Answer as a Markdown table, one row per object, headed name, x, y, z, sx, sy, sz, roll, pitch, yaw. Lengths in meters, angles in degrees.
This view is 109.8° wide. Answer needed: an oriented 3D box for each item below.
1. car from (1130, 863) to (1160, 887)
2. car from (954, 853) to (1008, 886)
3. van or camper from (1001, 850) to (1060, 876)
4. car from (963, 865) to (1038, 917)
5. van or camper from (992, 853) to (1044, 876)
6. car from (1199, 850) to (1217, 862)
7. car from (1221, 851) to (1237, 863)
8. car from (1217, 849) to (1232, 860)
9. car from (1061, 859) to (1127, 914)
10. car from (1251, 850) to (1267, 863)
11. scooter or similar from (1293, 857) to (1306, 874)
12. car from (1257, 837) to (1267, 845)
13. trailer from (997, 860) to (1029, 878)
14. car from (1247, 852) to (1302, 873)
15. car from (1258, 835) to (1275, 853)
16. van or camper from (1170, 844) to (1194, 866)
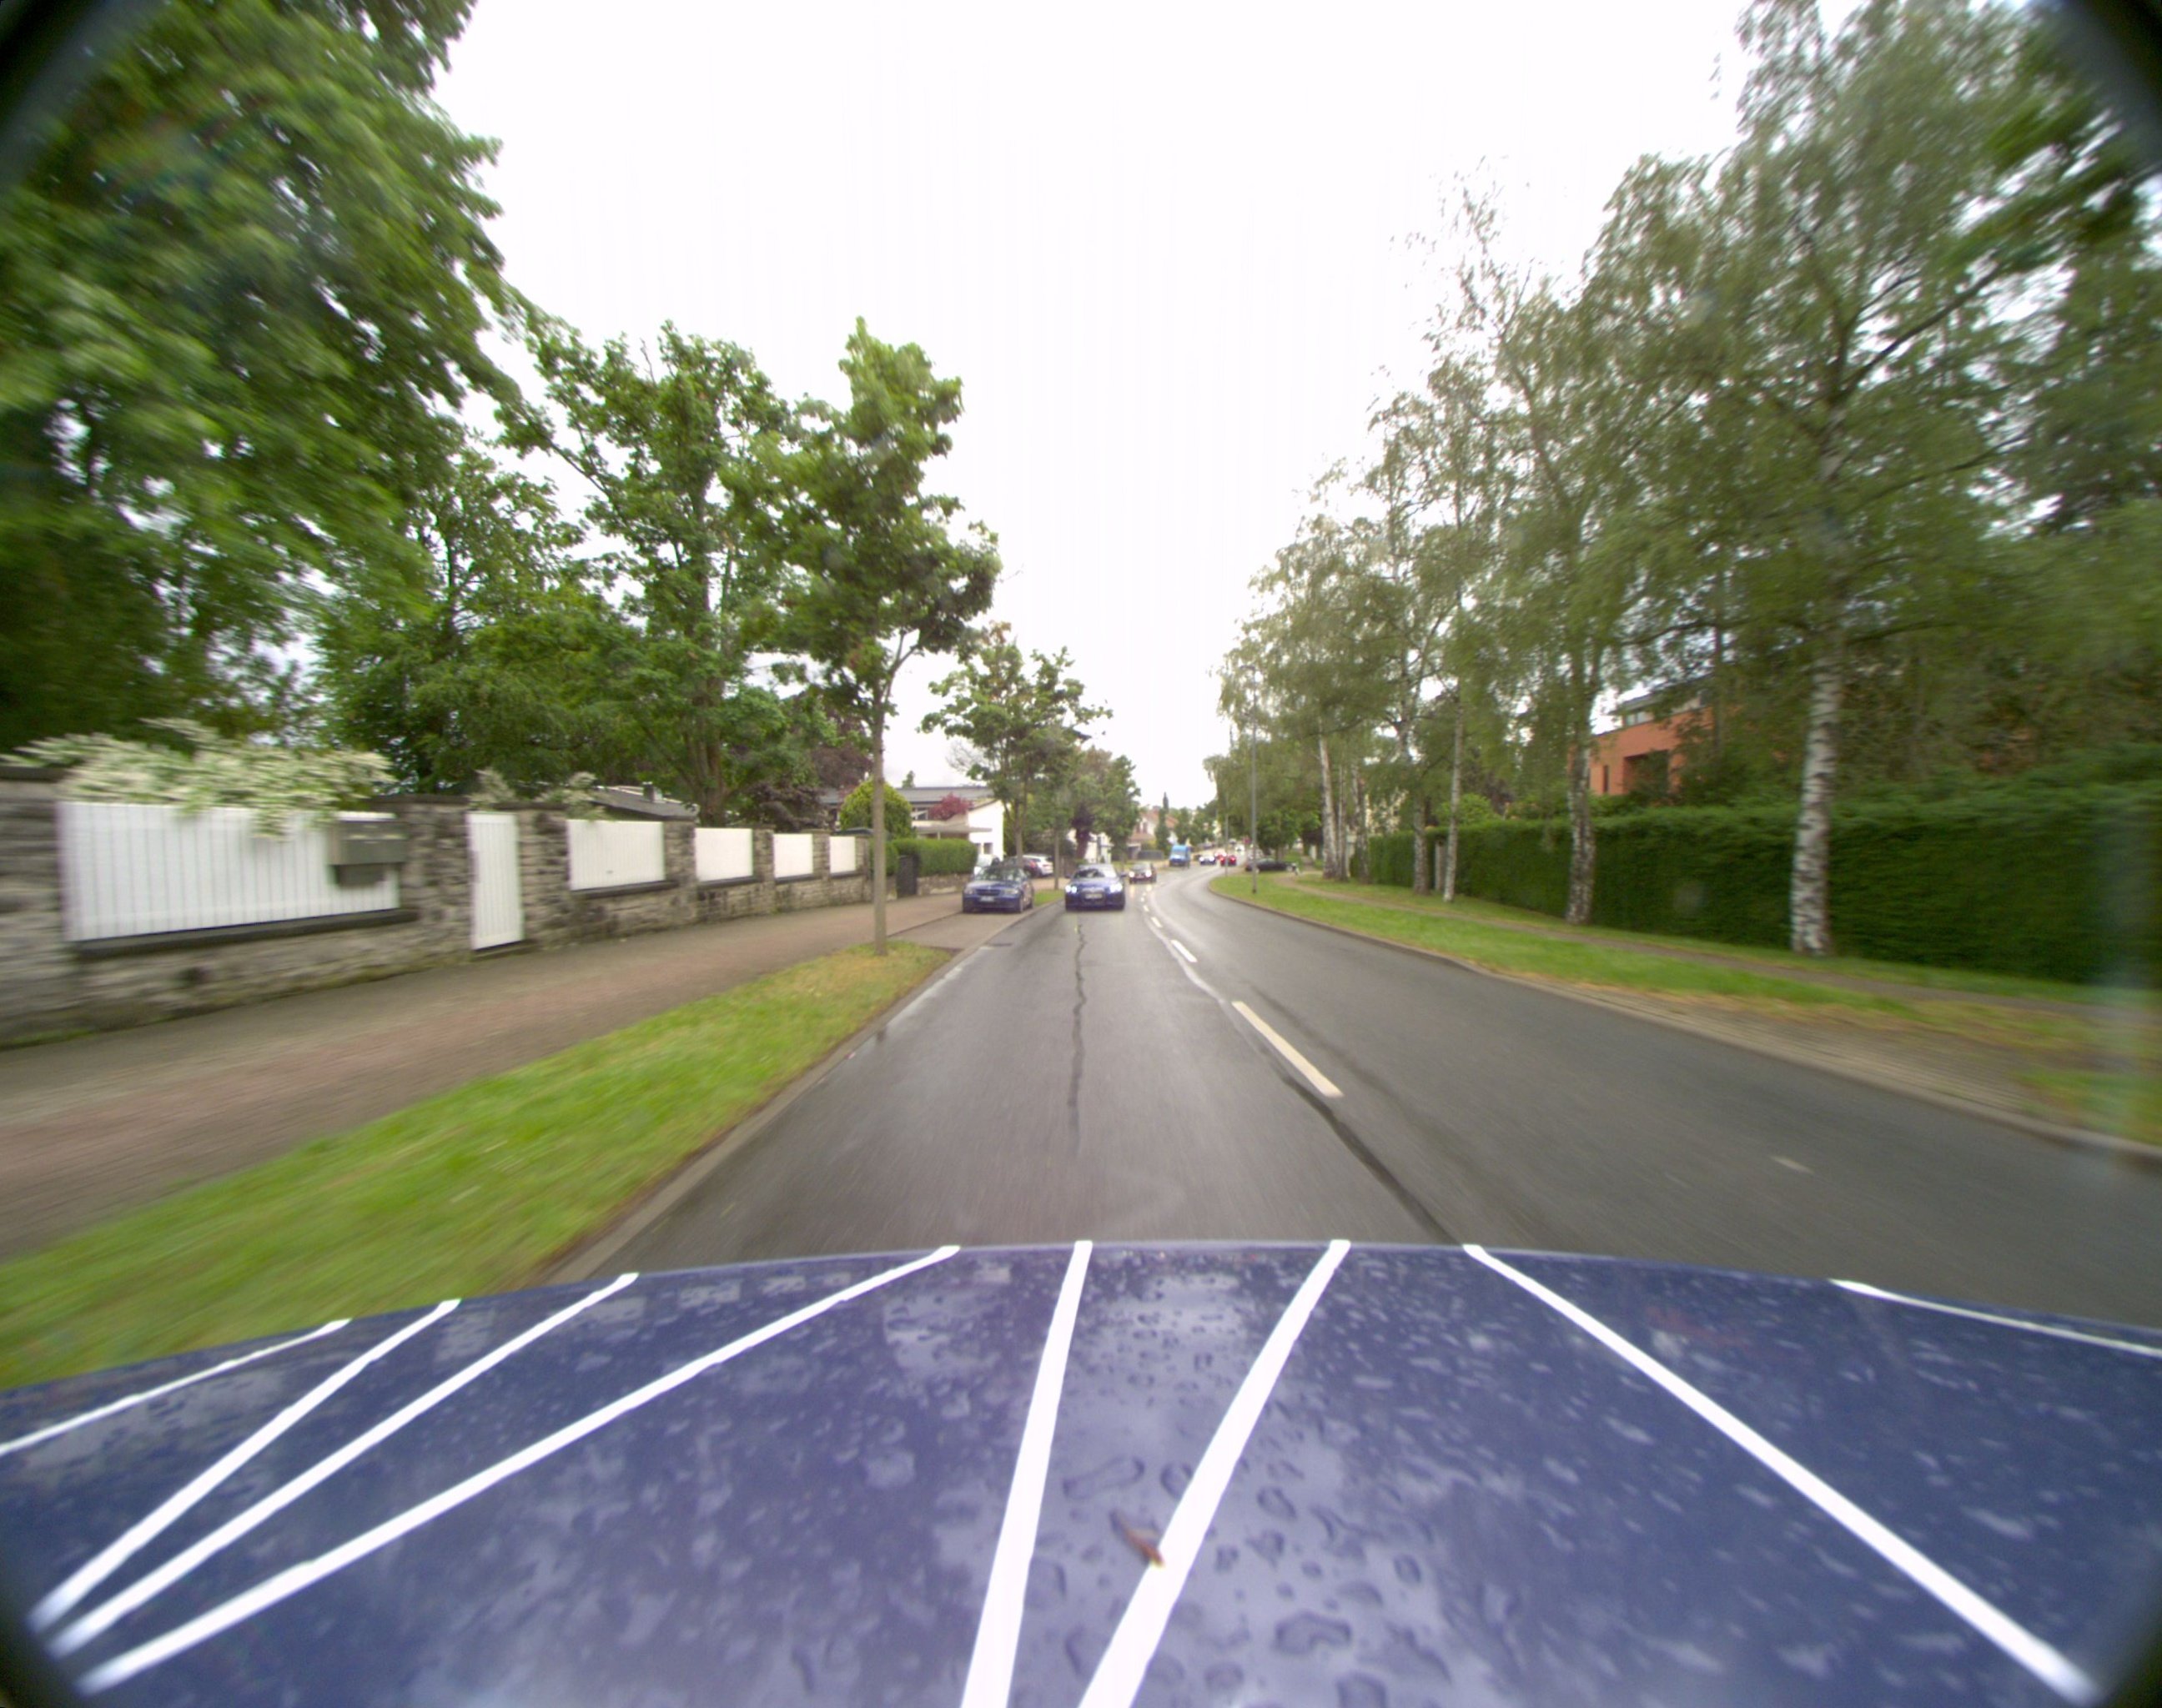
| name | x | y | z | sx | sy | sz | roll | pitch | yaw |
| --- | --- | --- | --- | --- | --- | --- | --- | --- | --- |
| car | 4.700 | 1.464 | 55.214 | 1.845 | 1.531 | 4.002 | -3 | 0 | 8 |
| car | -5.659 | 0.854 | 43.579 | 1.797 | 1.747 | 4.946 | -1 | 0 | 8 |
| van or camper | -3.829 | 0.668 | 58.198 | 3.993 | 1.668 | 2.125 | 3 | 1 | 11 |
| car | -2.363 | 1.054 | 23.224 | 1.645 | 1.369 | 3.830 | 1 | 0 | 4 |
| van or camper | -4.548 | 0.745 | 55.008 | 3.408 | 1.547 | 1.770 | 2 | 1 | 6 |
| car | 16.936 | 0.231 | 101.242 | 1.893 | 1.531 | 4.005 | -2 | 0 | 17 |
| car | 18.675 | 0.361 | 95.694 | 1.758 | 1.432 | 4.160 | -2 | 0 | 9 |
| car | 22.689 | 0.033 | 119.850 | 1.893 | 1.531 | 4.005 | -2 | 0 | 17 |
| car | 0.520 | 0.989 | 24.957 | 1.895 | 1.531 | 4.001 | -3 | 0 | 4 |
| car | 24.840 | 0.304 | 106.115 | 1.773 | 1.597 | 4.004 | -1 | 2 | 18 |
| scooter or similar | 15.678 | 0.797 | 54.523 | 0.424 | 1.151 | 1.493 | -3 | 0 | 35 |
| car | 39.606 | -2.806 | 166.178 | 1.893 | 1.531 | 4.005 | -2 | 0 | 19 |
| trailer | -4.626 | 1.011 | 51.719 | 1.422 | 0.916 | 3.276 | 7 | 2 | 7 |
| car | 16.639 | 0.725 | 65.221 | 4.434 | 1.409 | 1.757 | -4 | 0 | 15 |
| car | 31.371 | -1.703 | 128.538 | 2.245 | 2.822 | 5.049 | -2 | 2 | 18 |
| van or camper | 12.843 | 0.092 | 96.170 | 2.146 | 2.594 | 5.787 | 1 | 2 | 16 |
